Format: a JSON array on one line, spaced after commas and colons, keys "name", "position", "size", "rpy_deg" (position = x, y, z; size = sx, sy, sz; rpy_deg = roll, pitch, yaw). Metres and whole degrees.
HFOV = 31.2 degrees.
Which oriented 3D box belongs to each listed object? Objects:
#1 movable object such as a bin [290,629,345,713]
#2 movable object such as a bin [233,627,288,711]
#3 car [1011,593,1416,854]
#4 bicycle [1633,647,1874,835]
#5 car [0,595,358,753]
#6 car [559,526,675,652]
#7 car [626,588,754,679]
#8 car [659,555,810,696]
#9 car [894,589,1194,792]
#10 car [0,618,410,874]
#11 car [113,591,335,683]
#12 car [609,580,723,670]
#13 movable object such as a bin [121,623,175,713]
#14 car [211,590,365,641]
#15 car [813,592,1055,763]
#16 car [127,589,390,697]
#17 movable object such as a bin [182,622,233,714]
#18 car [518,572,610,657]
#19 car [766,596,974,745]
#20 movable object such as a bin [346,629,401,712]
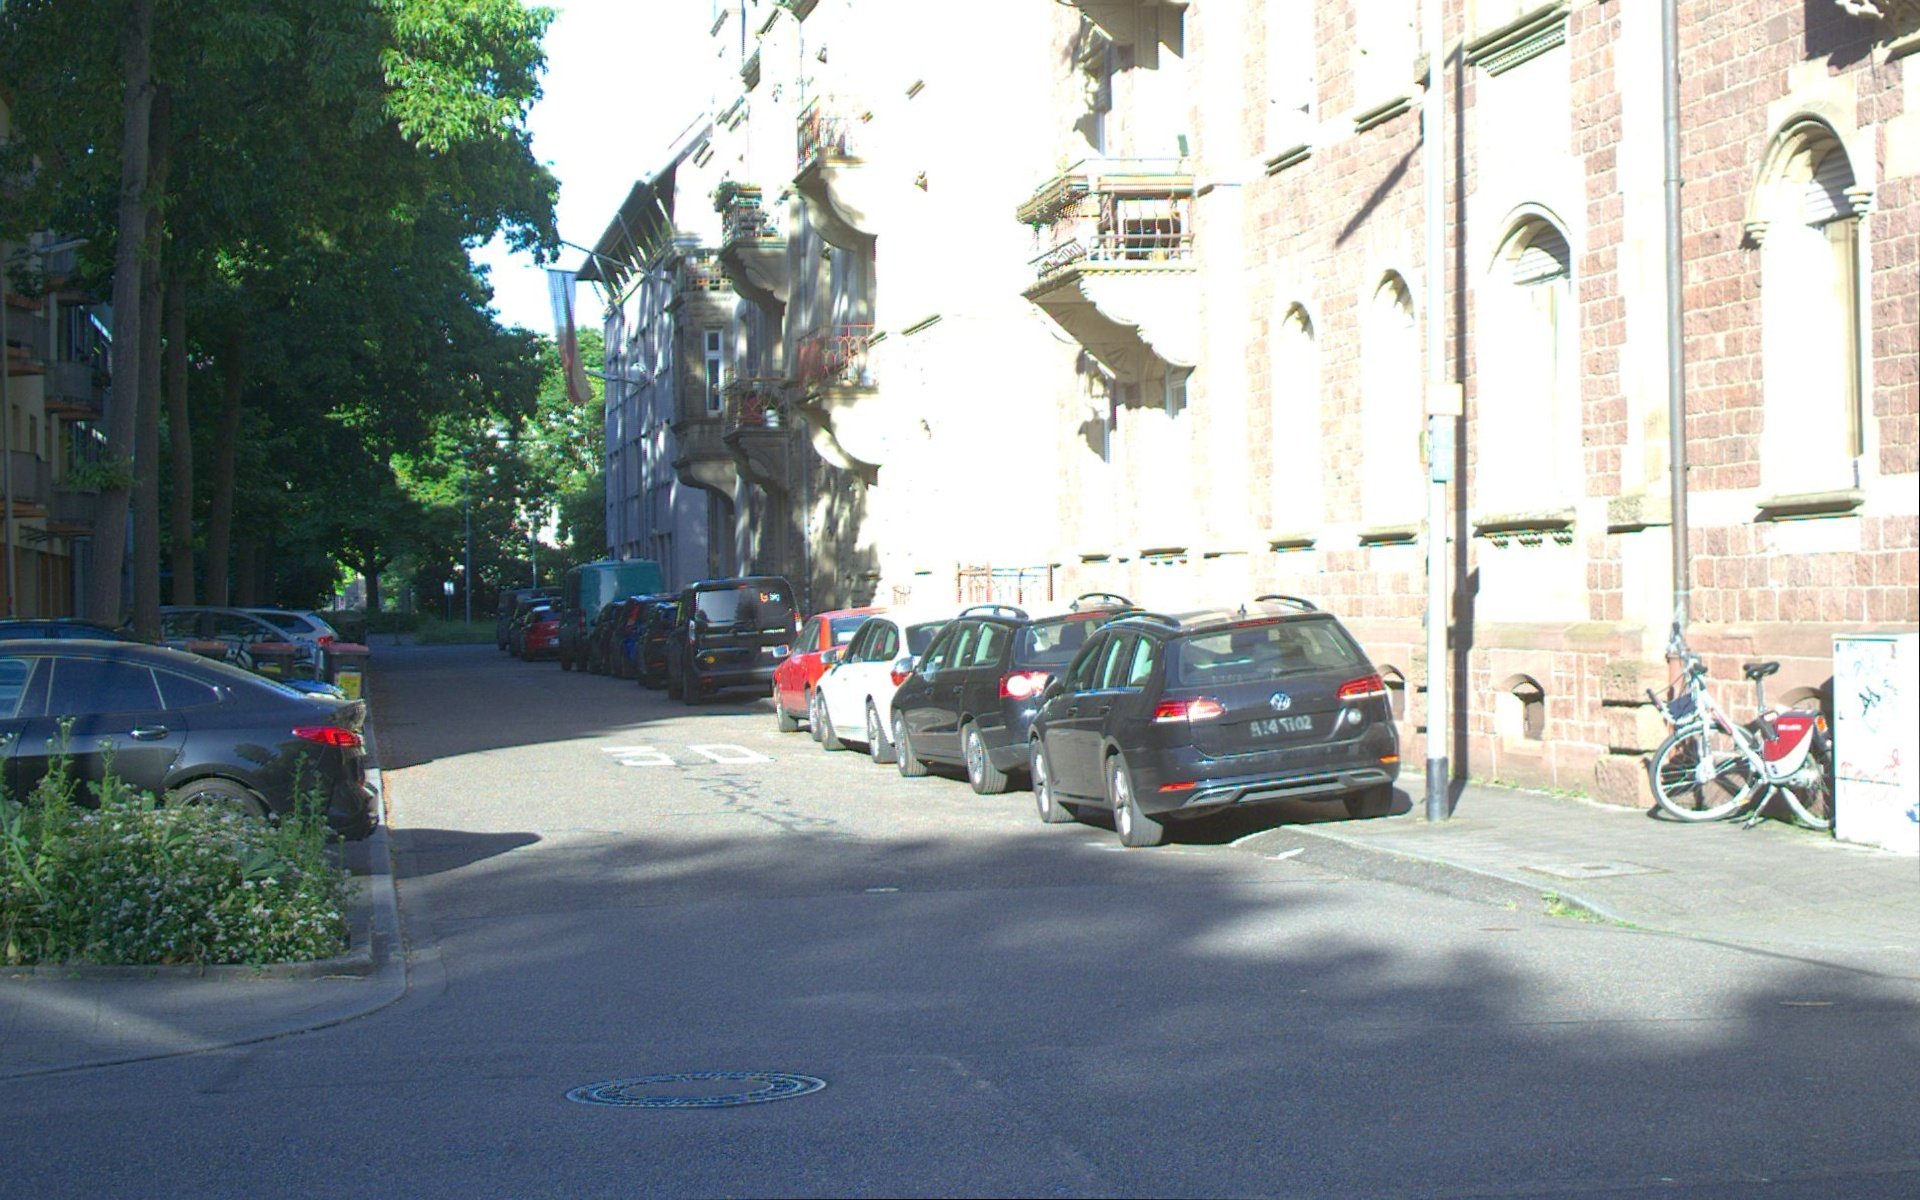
[{"name": "movable object such as a bin", "position": [-8.200, 0.906, 43.838], "size": [0.629, 1.049, 0.568], "rpy_deg": [1, 0, -16]}, {"name": "movable object such as a bin", "position": [-8.874, 0.871, 43.624], "size": [0.629, 1.049, 0.568], "rpy_deg": [1, 0, -16]}, {"name": "car", "position": [1.577, 0.753, 22.825], "size": [1.737, 1.576, 4.001], "rpy_deg": [1, 0, -10]}, {"name": "bicycle", "position": [4.475, 0.780, 19.492], "size": [0.514, 0.994, 1.576], "rpy_deg": [1, 0, -22]}, {"name": "car", "position": [-8.160, 0.683, 32.427], "size": [4.833, 1.430, 1.710], "rpy_deg": [1, 0, -11]}, {"name": "car", "position": [-7.636, -0.232, 76.113], "size": [2.165, 2.681, 4.792], "rpy_deg": [1, 0, -10]}, {"name": "car", "position": [-4.682, 0.562, 59.254], "size": [1.802, 1.509, 4.001], "rpy_deg": [1, 0, -10]}, {"name": "car", "position": [-3.393, 0.364, 51.127], "size": [1.802, 1.997, 4.001], "rpy_deg": [1, 0, -10]}, {"name": "car", "position": [0.627, 0.714, 28.879], "size": [1.737, 1.576, 4.001], "rpy_deg": [1, 0, -10]}, {"name": "car", "position": [-5.461, 0.829, 20.408], "size": [4.242, 1.430, 2.001], "rpy_deg": [1, 0, -11]}, {"name": "car", "position": [-13.108, 0.657, 61.322], "size": [3.800, 1.570, 1.710], "rpy_deg": [1, 0, -12]}, {"name": "car", "position": [-5.688, 0.469, 66.132], "size": [1.802, 1.673, 4.001], "rpy_deg": [1, 0, -10]}, {"name": "movable object such as a bin", "position": [-10.222, 0.853, 43.287], "size": [0.633, 1.122, 0.487], "rpy_deg": [1, 0, -16]}, {"name": "car", "position": [-17.046, 0.398, 87.179], "size": [3.800, 1.236, 1.710], "rpy_deg": [1, 0, -12]}, {"name": "car", "position": [-0.320, 0.724, 33.984], "size": [1.737, 1.576, 4.001], "rpy_deg": [1, 0, -10]}, {"name": "car", "position": [-10.574, 0.638, 51.736], "size": [3.800, 1.570, 1.710], "rpy_deg": [1, 0, -13]}, {"name": "movable object such as a bin", "position": [-9.526, 0.855, 43.507], "size": [0.598, 1.149, 0.487], "rpy_deg": [1, 0, -16]}, {"name": "car", "position": [-10.726, 0.381, 92.909], "size": [2.165, 2.229, 4.792], "rpy_deg": [1, 0, -10]}, {"name": "car", "position": [-1.067, 0.753, 38.604], "size": [1.737, 1.576, 4.001], "rpy_deg": [1, 0, -10]}, {"name": "movable object such as a bin", "position": [-7.509, 0.899, 43.985], "size": [0.629, 1.049, 0.568], "rpy_deg": [1, 0, -16]}]
